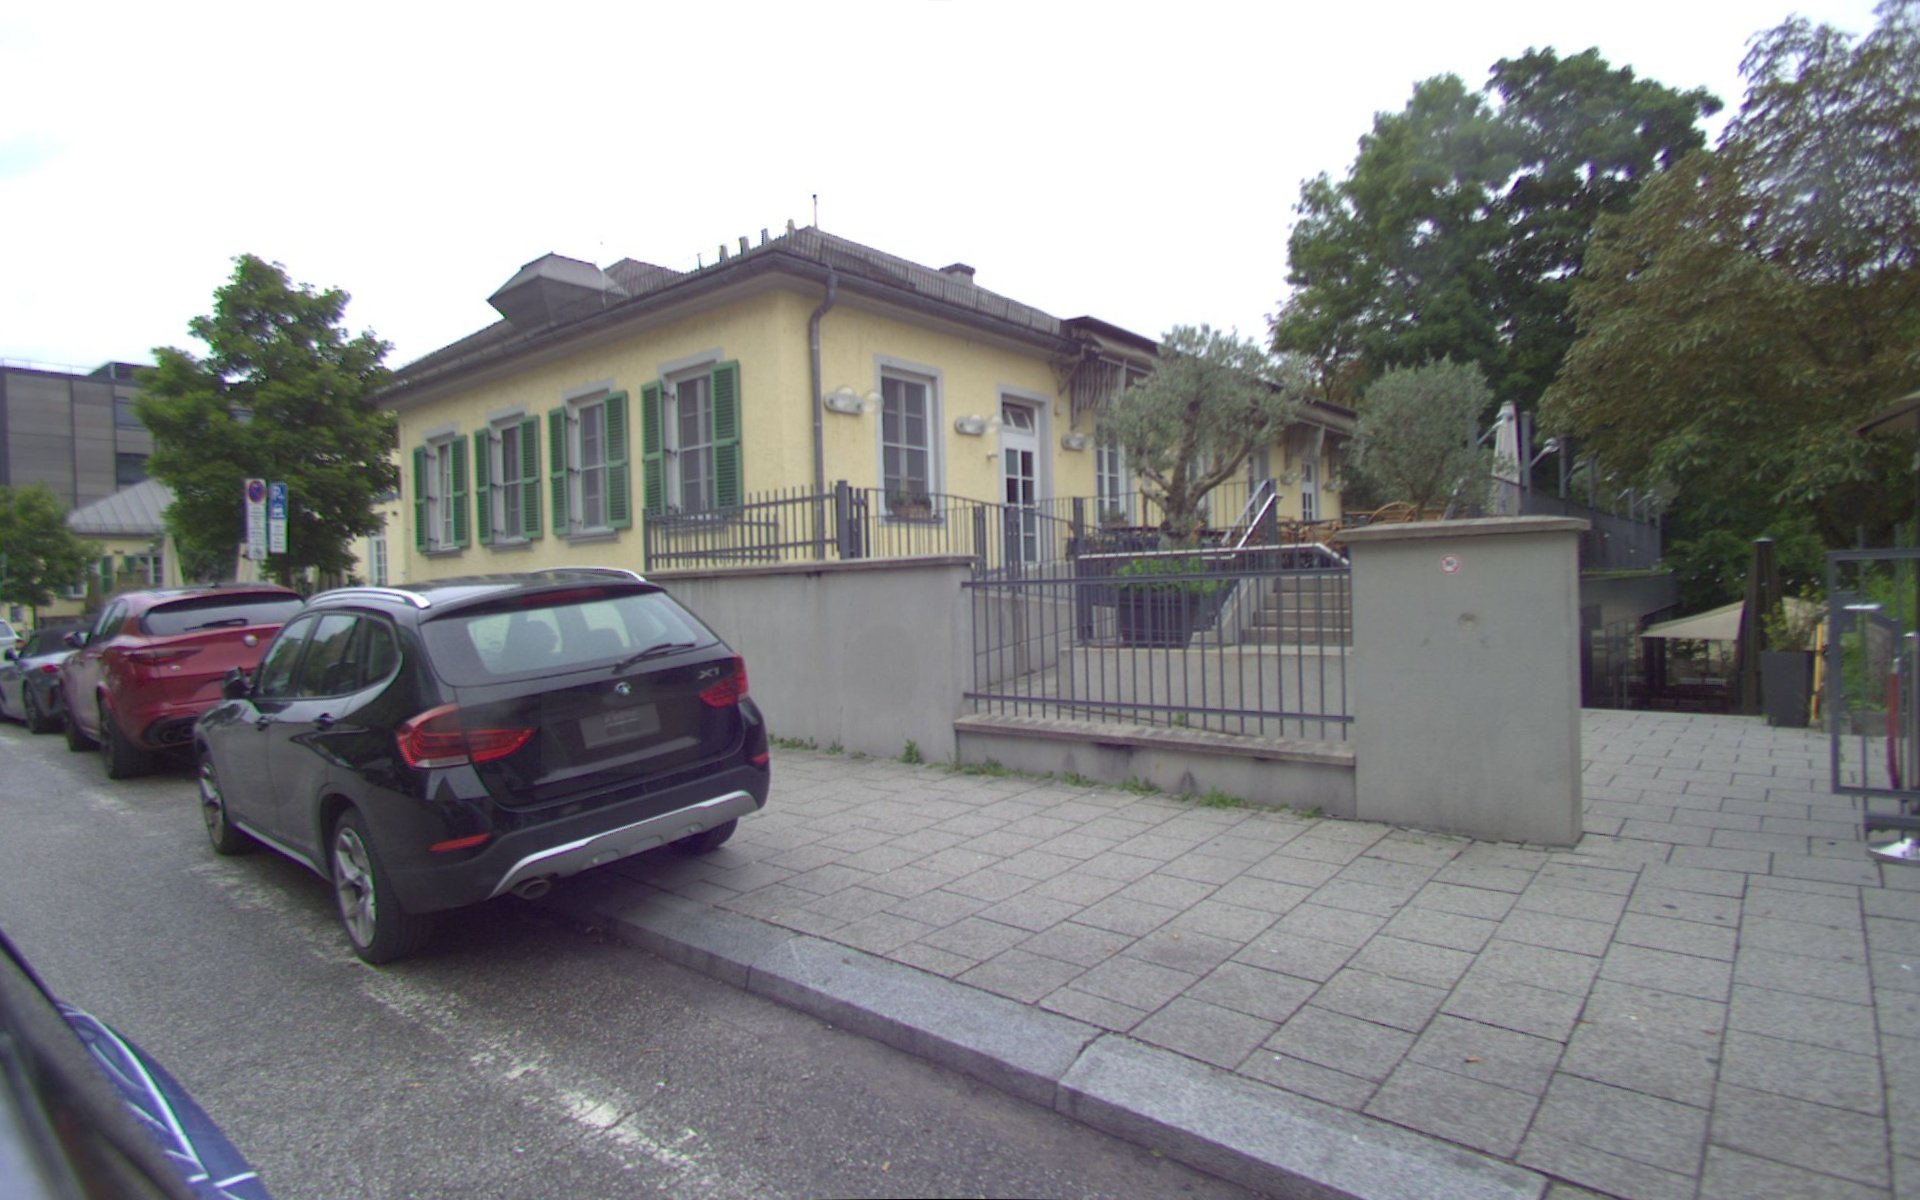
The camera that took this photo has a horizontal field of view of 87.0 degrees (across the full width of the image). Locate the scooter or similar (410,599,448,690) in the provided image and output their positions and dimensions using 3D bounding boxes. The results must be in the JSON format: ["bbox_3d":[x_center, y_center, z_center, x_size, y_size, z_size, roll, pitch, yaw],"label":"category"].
[{"bbox_3d":[-8.283,0.669,15.806,0.370,1.353,1.357,-2,0,-23],"label":"scooter or similar"}]

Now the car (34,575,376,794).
[{"bbox_3d":[-7.968,0.713,10.478,4.807,1.704,1.882,-2,2,42],"label":"car"}]

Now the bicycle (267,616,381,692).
[{"bbox_3d":[-10.663,0.884,17.004,0.642,1.157,1.475,-2,1,42],"label":"bicycle"}]

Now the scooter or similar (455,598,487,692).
[{"bbox_3d":[-7.257,0.649,15.034,0.358,1.324,1.257,-2,0,-25],"label":"scooter or similar"}]

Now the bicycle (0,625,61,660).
[{"bbox_3d":[-34.502,1.571,37.356,0.466,1.042,1.825,-2,5,39],"label":"bicycle"}]

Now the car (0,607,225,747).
[{"bbox_3d":[-12.063,0.960,13.975,4.649,1.530,1.878,-2,2,39],"label":"car"}]

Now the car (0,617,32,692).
[{"bbox_3d":[-21.563,1.201,21.830,4.458,1.503,1.707,-2,2,41],"label":"car"}]

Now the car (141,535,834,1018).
[{"bbox_3d":[-2.975,0.597,5.686,4.742,1.619,1.826,-2,2,43],"label":"car"}]
